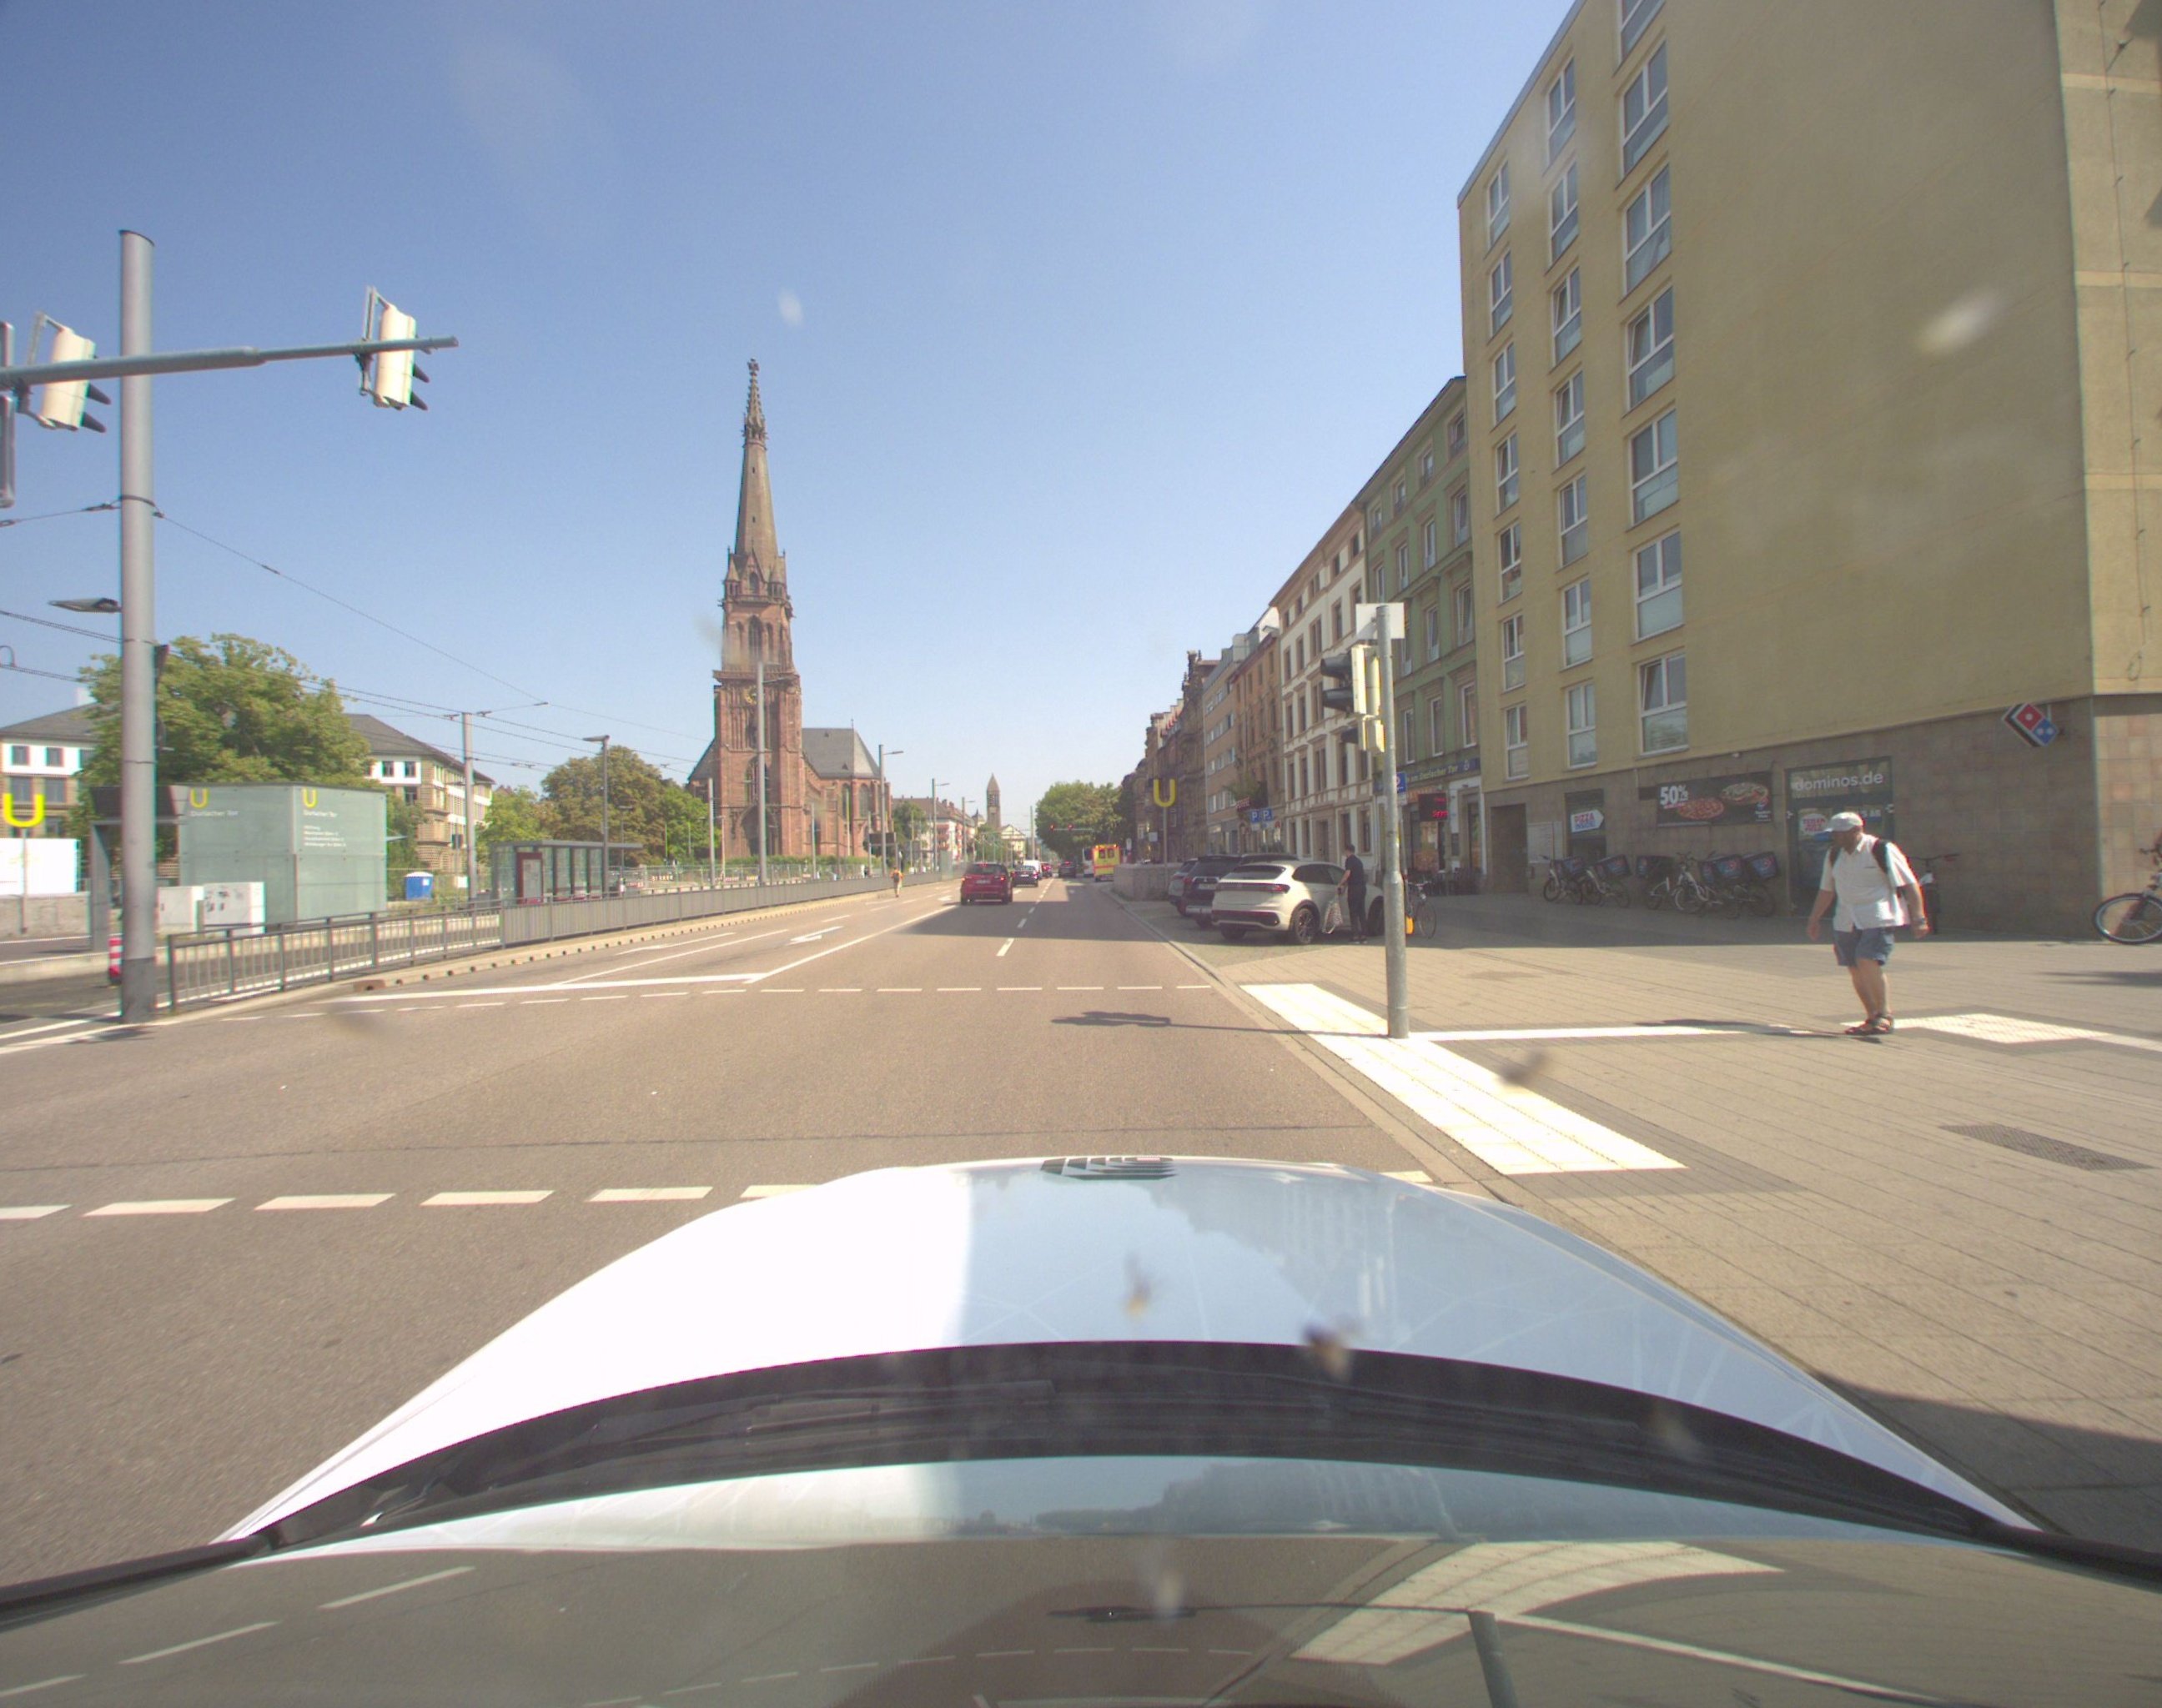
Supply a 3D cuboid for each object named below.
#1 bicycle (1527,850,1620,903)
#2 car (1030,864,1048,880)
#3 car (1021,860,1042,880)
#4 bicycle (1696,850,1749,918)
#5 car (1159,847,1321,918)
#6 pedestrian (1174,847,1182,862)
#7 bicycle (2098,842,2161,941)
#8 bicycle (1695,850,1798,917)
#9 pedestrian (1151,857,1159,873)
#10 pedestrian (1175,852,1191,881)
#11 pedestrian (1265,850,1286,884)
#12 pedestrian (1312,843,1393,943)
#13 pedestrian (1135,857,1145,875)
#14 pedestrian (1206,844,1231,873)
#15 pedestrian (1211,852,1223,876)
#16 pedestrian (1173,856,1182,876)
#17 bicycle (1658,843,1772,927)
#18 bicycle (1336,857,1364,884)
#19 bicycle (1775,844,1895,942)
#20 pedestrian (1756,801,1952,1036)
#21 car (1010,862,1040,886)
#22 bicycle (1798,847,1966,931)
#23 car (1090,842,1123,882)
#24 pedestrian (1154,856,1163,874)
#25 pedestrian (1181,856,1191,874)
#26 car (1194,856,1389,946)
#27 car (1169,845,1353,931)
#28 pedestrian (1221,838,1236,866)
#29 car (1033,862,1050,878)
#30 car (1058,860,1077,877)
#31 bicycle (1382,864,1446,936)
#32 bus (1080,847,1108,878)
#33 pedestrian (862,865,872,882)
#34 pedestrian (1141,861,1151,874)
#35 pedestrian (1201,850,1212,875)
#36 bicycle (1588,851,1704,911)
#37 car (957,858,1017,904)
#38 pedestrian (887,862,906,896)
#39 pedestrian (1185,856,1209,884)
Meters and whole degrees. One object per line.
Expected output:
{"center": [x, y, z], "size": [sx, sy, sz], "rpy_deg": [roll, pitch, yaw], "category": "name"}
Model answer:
{"center": [12.519, 0.549, 20.824], "size": [0.935, 1.238, 2.423], "rpy_deg": [-2, 0, 2], "category": "bicycle"}
{"center": [-4.206, 1.810, 82.176], "size": [1.786, 1.473, 3.995], "rpy_deg": [-1, -1, -3], "category": "car"}
{"center": [-4.477, 1.483, 74.214], "size": [1.786, 1.780, 3.995], "rpy_deg": [-1, -1, -3], "category": "car"}
{"center": [12.413, 0.558, 15.794], "size": [0.584, 1.238, 1.555], "rpy_deg": [-2, 0, 31], "category": "bicycle"}
{"center": [4.487, 0.720, 22.577], "size": [4.692, 1.713, 2.019], "rpy_deg": [-2, 0, -43], "category": "car"}
{"center": [10.911, 0.079, 91.556], "size": [0.622, 1.593, 0.694], "rpy_deg": [-2, -1, -7], "category": "pedestrian"}
{"center": [14.188, 0.447, 10.422], "size": [1.719, 1.206, 0.588], "rpy_deg": [-2, -1, -6], "category": "bicycle"}
{"center": [13.026, 0.553, 16.007], "size": [0.408, 1.238, 1.825], "rpy_deg": [-2, 0, -4], "category": "bicycle"}
{"center": [7.852, 1.139, 86.095], "size": [0.694, 1.667, 1.064], "rpy_deg": [-1, -1, 1], "category": "pedestrian"}
{"center": [6.218, 0.755, 49.599], "size": [0.846, 1.729, 0.972], "rpy_deg": [-3, 1, 5], "category": "pedestrian"}
{"center": [10.894, 0.709, 45.561], "size": [0.841, 1.846, 0.684], "rpy_deg": [-3, -1, -11], "category": "pedestrian"}
{"center": [4.852, 0.671, 14.567], "size": [1.040, 1.704, 0.896], "rpy_deg": [0, -1, -28], "category": "pedestrian"}
{"center": [5.492, 1.146, 75.781], "size": [0.690, 1.667, 0.606], "rpy_deg": [-2, -1, 24], "category": "pedestrian"}
{"center": [7.635, 0.238, 45.212], "size": [0.856, 1.582, 0.960], "rpy_deg": [-1, -1, -35], "category": "pedestrian"}
{"center": [10.150, 0.738, 60.889], "size": [0.598, 1.795, 0.879], "rpy_deg": [-4, -1, -2], "category": "pedestrian"}
{"center": [8.596, 1.062, 72.231], "size": [0.641, 1.685, 0.789], "rpy_deg": [-2, -1, -2], "category": "pedestrian"}
{"center": [12.182, 0.539, 15.582], "size": [3.380, 1.404, 0.894], "rpy_deg": [-2, -1, -38], "category": "bicycle"}
{"center": [12.314, 0.734, 37.378], "size": [0.478, 1.146, 2.471], "rpy_deg": [-2, 1, 1], "category": "bicycle"}
{"center": [12.548, 0.578, 13.497], "size": [3.380, 1.404, 0.894], "rpy_deg": [-2, -1, -38], "category": "bicycle"}
{"center": [6.328, 0.499, 6.716], "size": [0.816, 1.808, 0.814], "rpy_deg": [0, -1, -1], "category": "pedestrian"}
{"center": [-3.577, 1.242, 52.500], "size": [1.786, 1.431, 3.995], "rpy_deg": [-2, 0, -3], "category": "car"}
{"center": [12.925, 0.531, 13.243], "size": [0.726, 1.246, 1.959], "rpy_deg": [-2, 0, -2], "category": "bicycle"}
{"center": [2.026, 0.616, 63.897], "size": [2.290, 2.888, 5.602], "rpy_deg": [-3, 0, 2], "category": "car"}
{"center": [7.491, 1.057, 78.757], "size": [0.694, 1.667, 0.603], "rpy_deg": [-1, -1, 0], "category": "pedestrian"}
{"center": [9.316, 0.972, 72.260], "size": [0.641, 1.493, 0.789], "rpy_deg": [-2, -1, -2], "category": "pedestrian"}
{"center": [4.098, 0.803, 15.563], "size": [3.805, 1.500, 1.786], "rpy_deg": [1, 0, -42], "category": "car"}
{"center": [4.236, 0.701, 18.766], "size": [4.417, 1.687, 1.962], "rpy_deg": [-2, -1, -43], "category": "car"}
{"center": [9.429, -0.135, 52.045], "size": [0.682, 1.774, 1.017], "rpy_deg": [-2, 0, -2], "category": "pedestrian"}
{"center": [-4.369, 1.761, 90.372], "size": [1.786, 1.698, 3.995], "rpy_deg": [-1, -1, -3], "category": "car"}
{"center": [-1.437, 1.467, 83.784], "size": [1.786, 1.677, 3.995], "rpy_deg": [-1, -1, -3], "category": "car"}
{"center": [6.412, 0.859, 15.760], "size": [0.471, 1.296, 1.791], "rpy_deg": [-2, -2, 1], "category": "bicycle"}
{"center": [1.299, 0.941, 88.627], "size": [2.527, 3.032, 12.428], "rpy_deg": [-2, -1, -1], "category": "bus"}
{"center": [-22.347, 2.002, 85.039], "size": [0.826, 1.752, 0.720], "rpy_deg": [-2, -2, -1], "category": "pedestrian"}
{"center": [9.182, 1.855, 115.094], "size": [1.245, 1.751, 1.525], "rpy_deg": [-2, 1, -1], "category": "pedestrian"}
{"center": [9.377, 0.636, 60.904], "size": [0.575, 1.750, 0.678], "rpy_deg": [-4, -1, -2], "category": "pedestrian"}
{"center": [12.548, 0.568, 18.222], "size": [0.935, 1.238, 2.423], "rpy_deg": [-2, 0, 2], "category": "bicycle"}
{"center": [-3.585, 0.997, 31.697], "size": [1.756, 1.618, 4.082], "rpy_deg": [-2, -1, 0], "category": "car"}
{"center": [-9.891, 1.338, 43.612], "size": [0.759, 1.752, 1.067], "rpy_deg": [-2, -2, -3], "category": "pedestrian"}
{"center": [6.702, 0.924, 47.048], "size": [0.856, 1.582, 0.960], "rpy_deg": [-1, -1, -35], "category": "pedestrian"}
